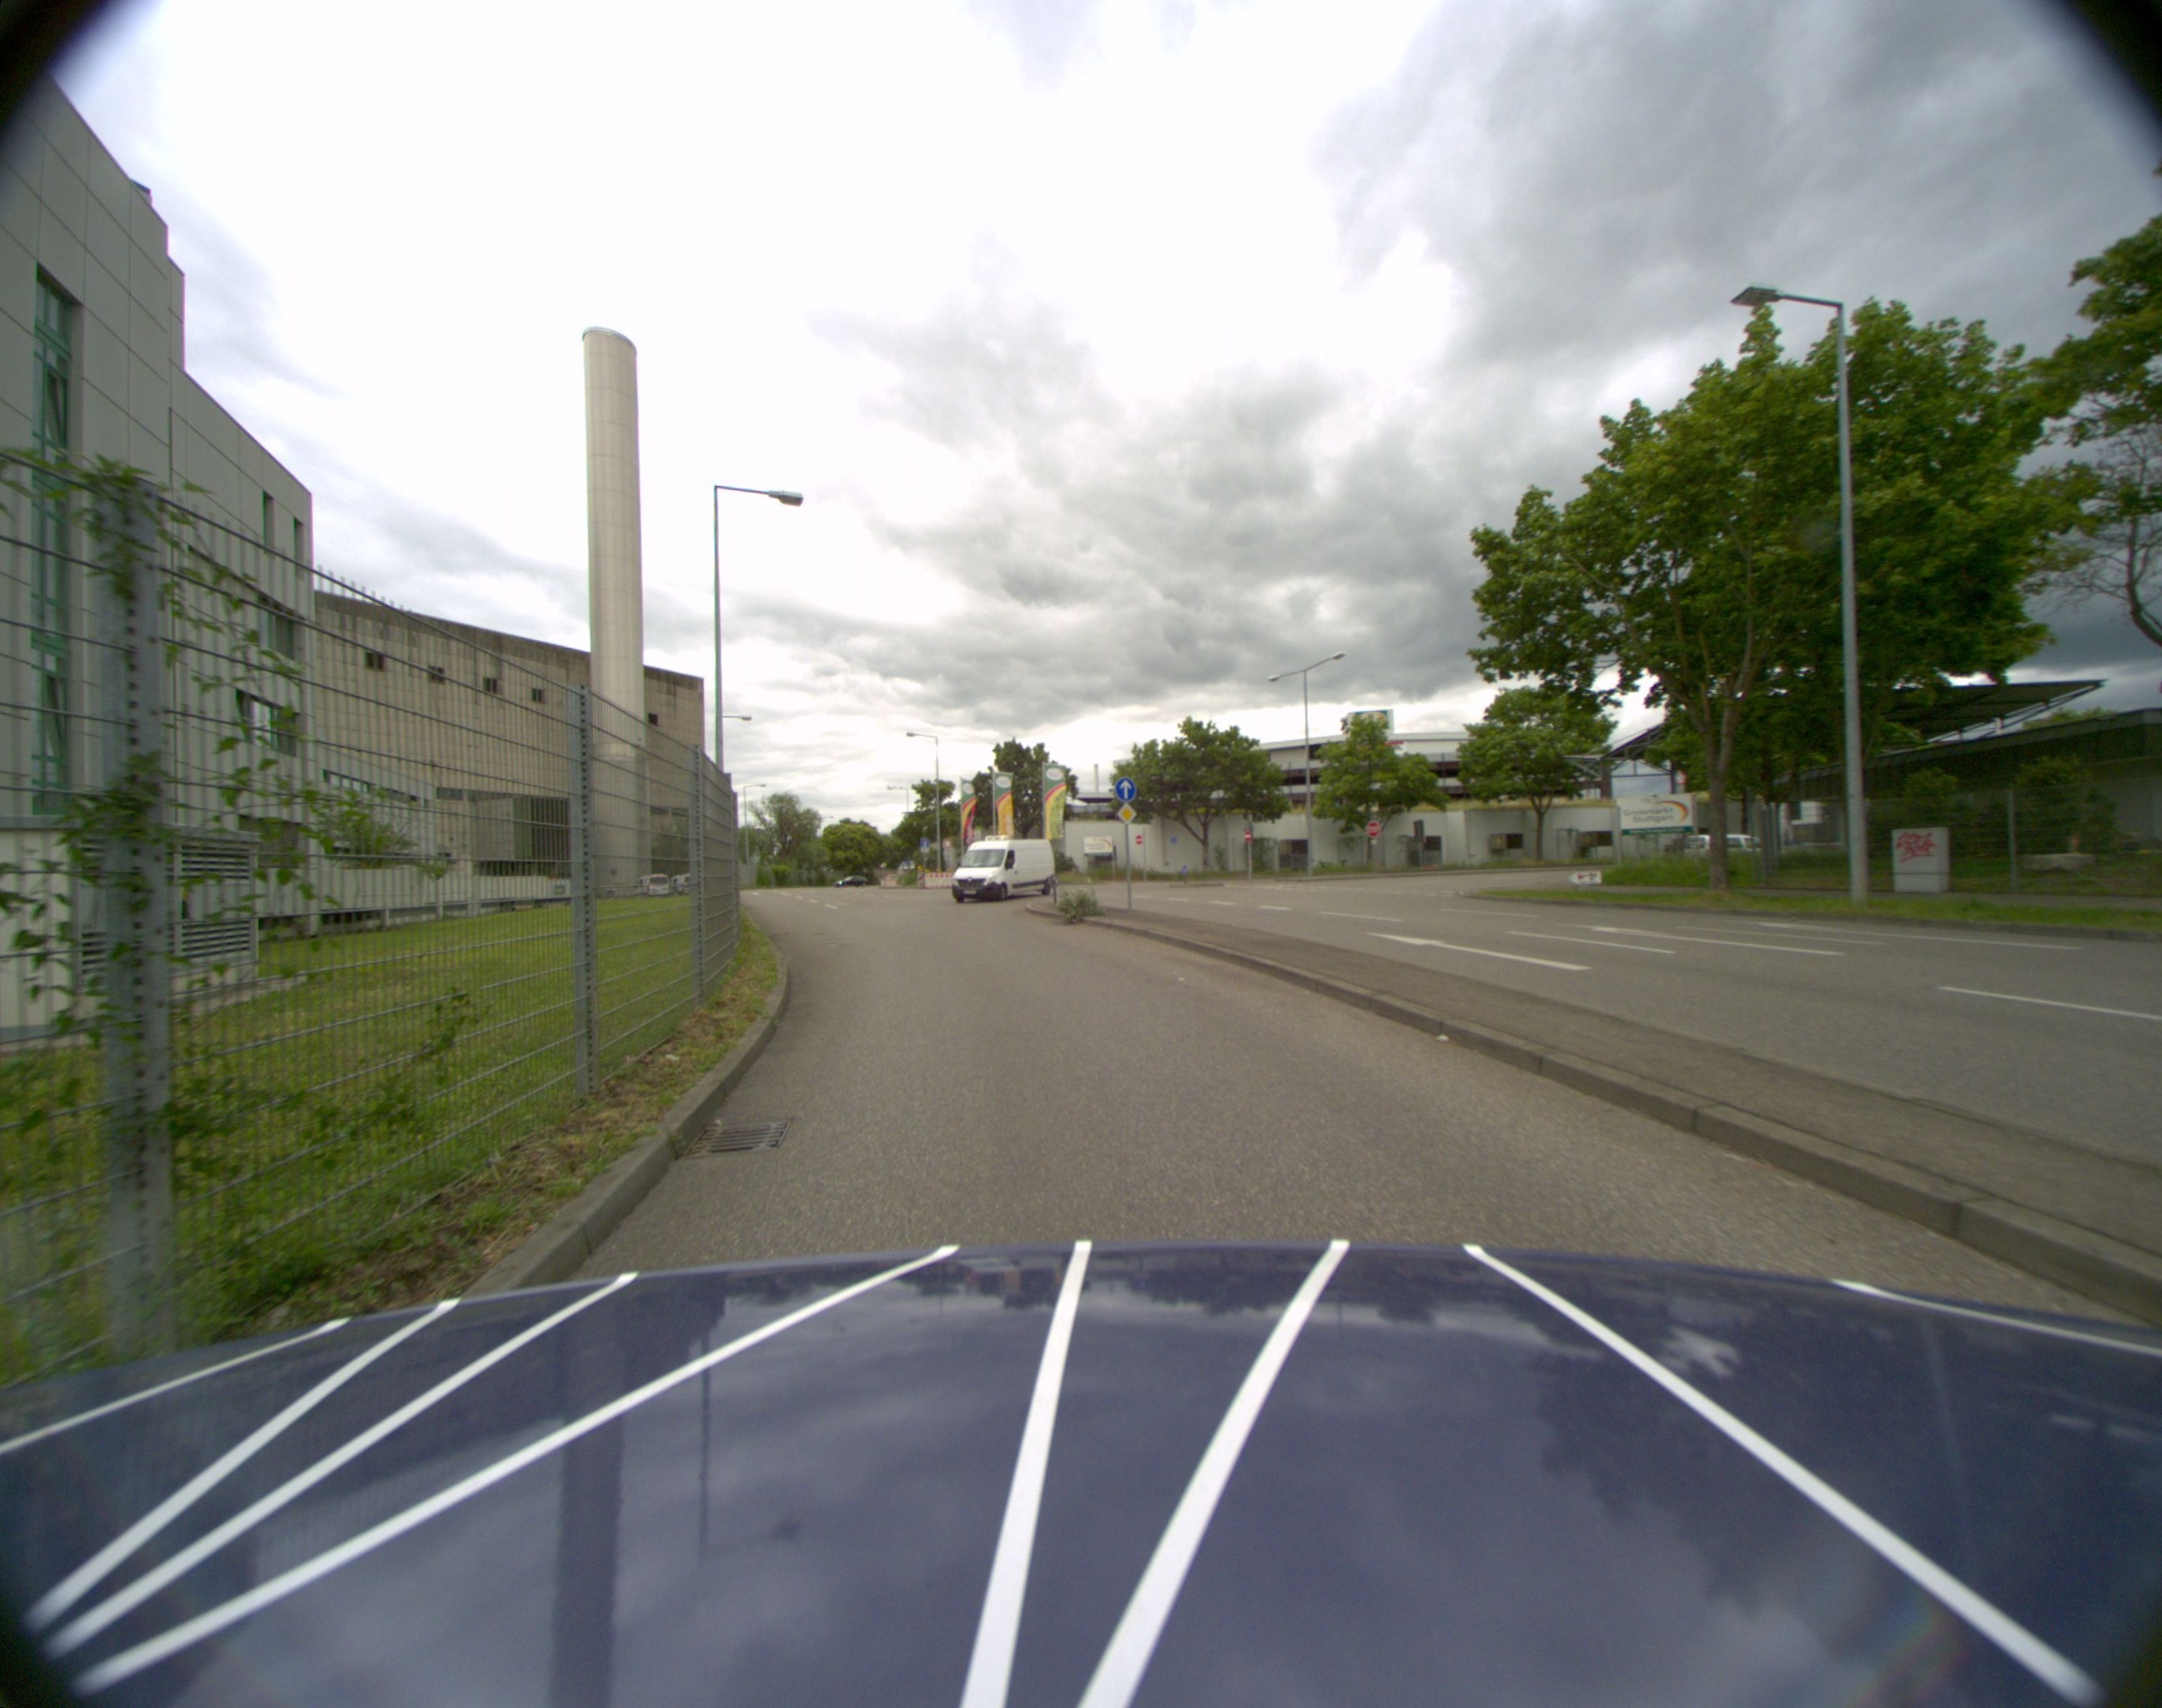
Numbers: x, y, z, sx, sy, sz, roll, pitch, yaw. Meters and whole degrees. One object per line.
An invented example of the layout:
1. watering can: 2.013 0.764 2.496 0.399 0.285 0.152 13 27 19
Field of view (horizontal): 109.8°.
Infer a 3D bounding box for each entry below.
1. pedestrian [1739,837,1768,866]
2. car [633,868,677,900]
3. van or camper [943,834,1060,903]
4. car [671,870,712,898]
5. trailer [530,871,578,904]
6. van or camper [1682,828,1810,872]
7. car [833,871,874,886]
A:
1. pedestrian: 36.272 -0.117 40.975 0.816 1.549 0.769 -1 -1 -1
2. car: -41.605 2.969 74.111 2.432 2.745 5.442 -2 -3 -43
3. van or camper: -3.088 0.545 31.354 2.268 2.542 6.117 -2 0 20
4. car: -39.414 3.058 76.737 2.243 2.531 5.179 -2 -3 -43
5. trailer: -44.550 2.843 64.159 2.669 2.528 6.417 -2 -1 -40
6. van or camper: 32.711 -0.193 37.506 4.269 1.952 1.960 -2 0 12
7. car: -29.845 3.216 99.725 4.631 1.799 1.995 -2 -1 -41
